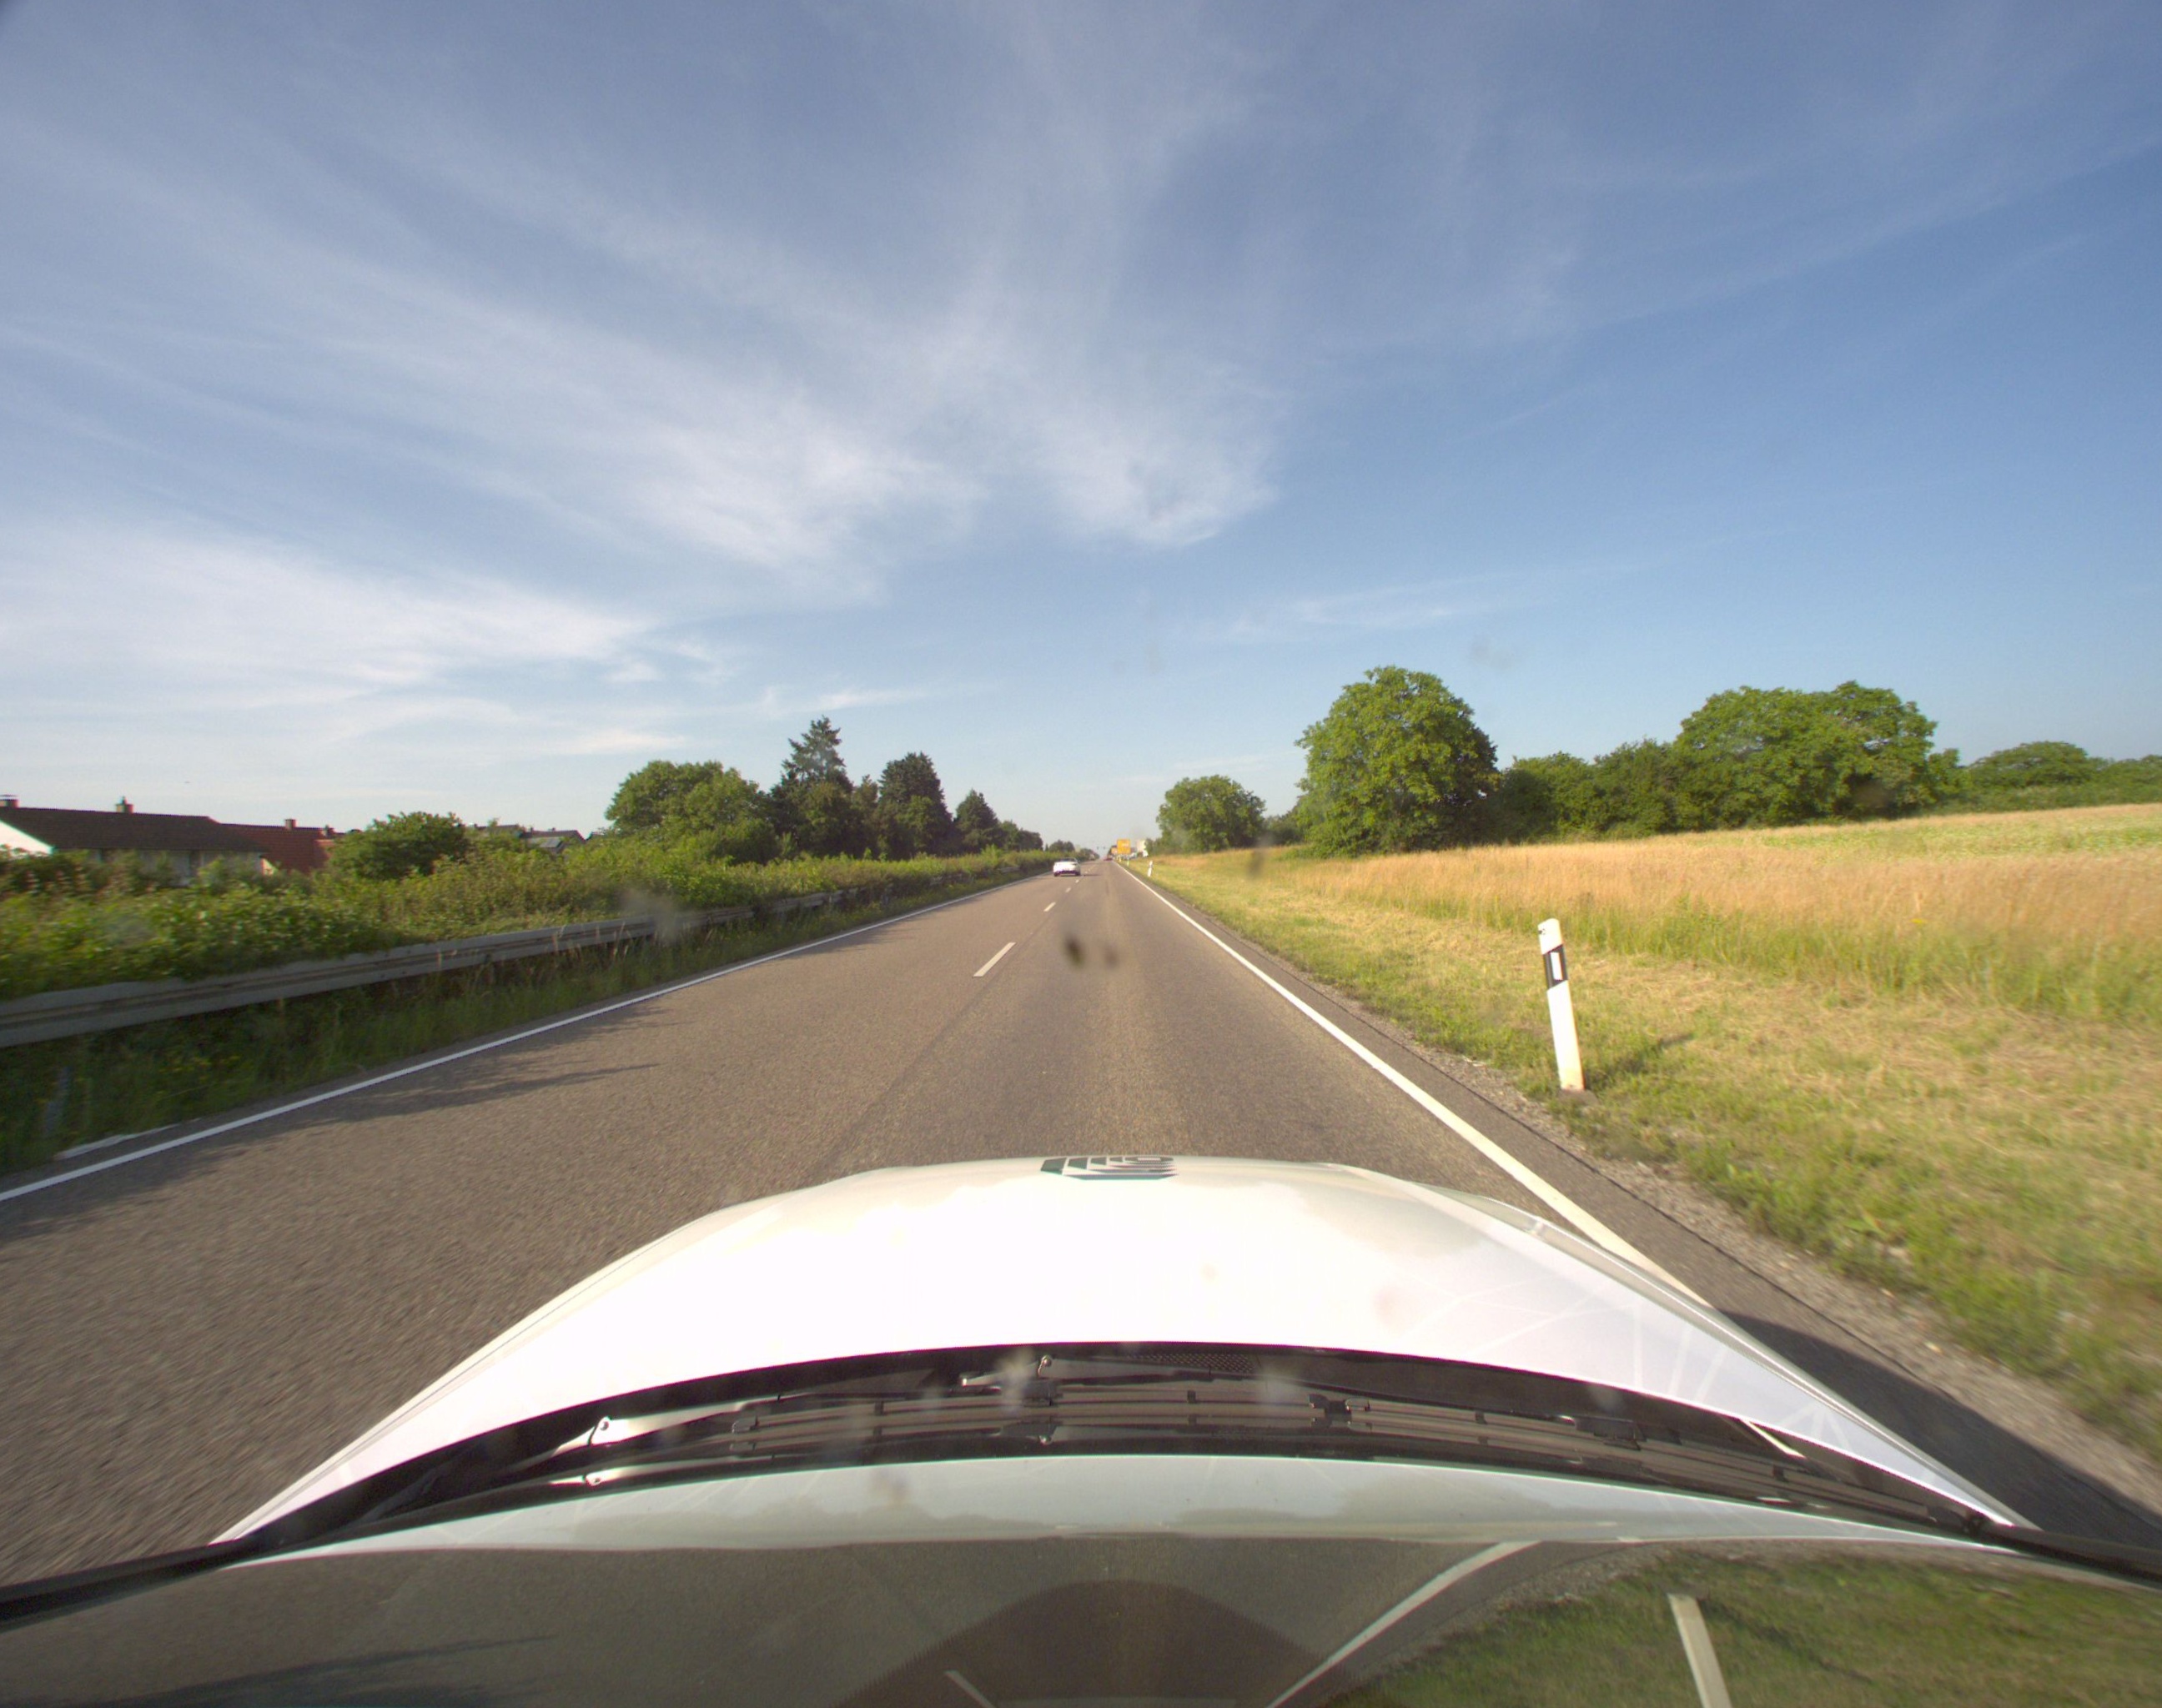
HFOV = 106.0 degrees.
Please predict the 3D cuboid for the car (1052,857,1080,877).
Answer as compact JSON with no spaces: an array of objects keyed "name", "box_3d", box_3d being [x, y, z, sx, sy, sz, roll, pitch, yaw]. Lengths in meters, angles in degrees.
[{"name":"car","box_3d":[-1.082,0.923,60.827,1.903,1.422,4.001,-1,0,1]}]
